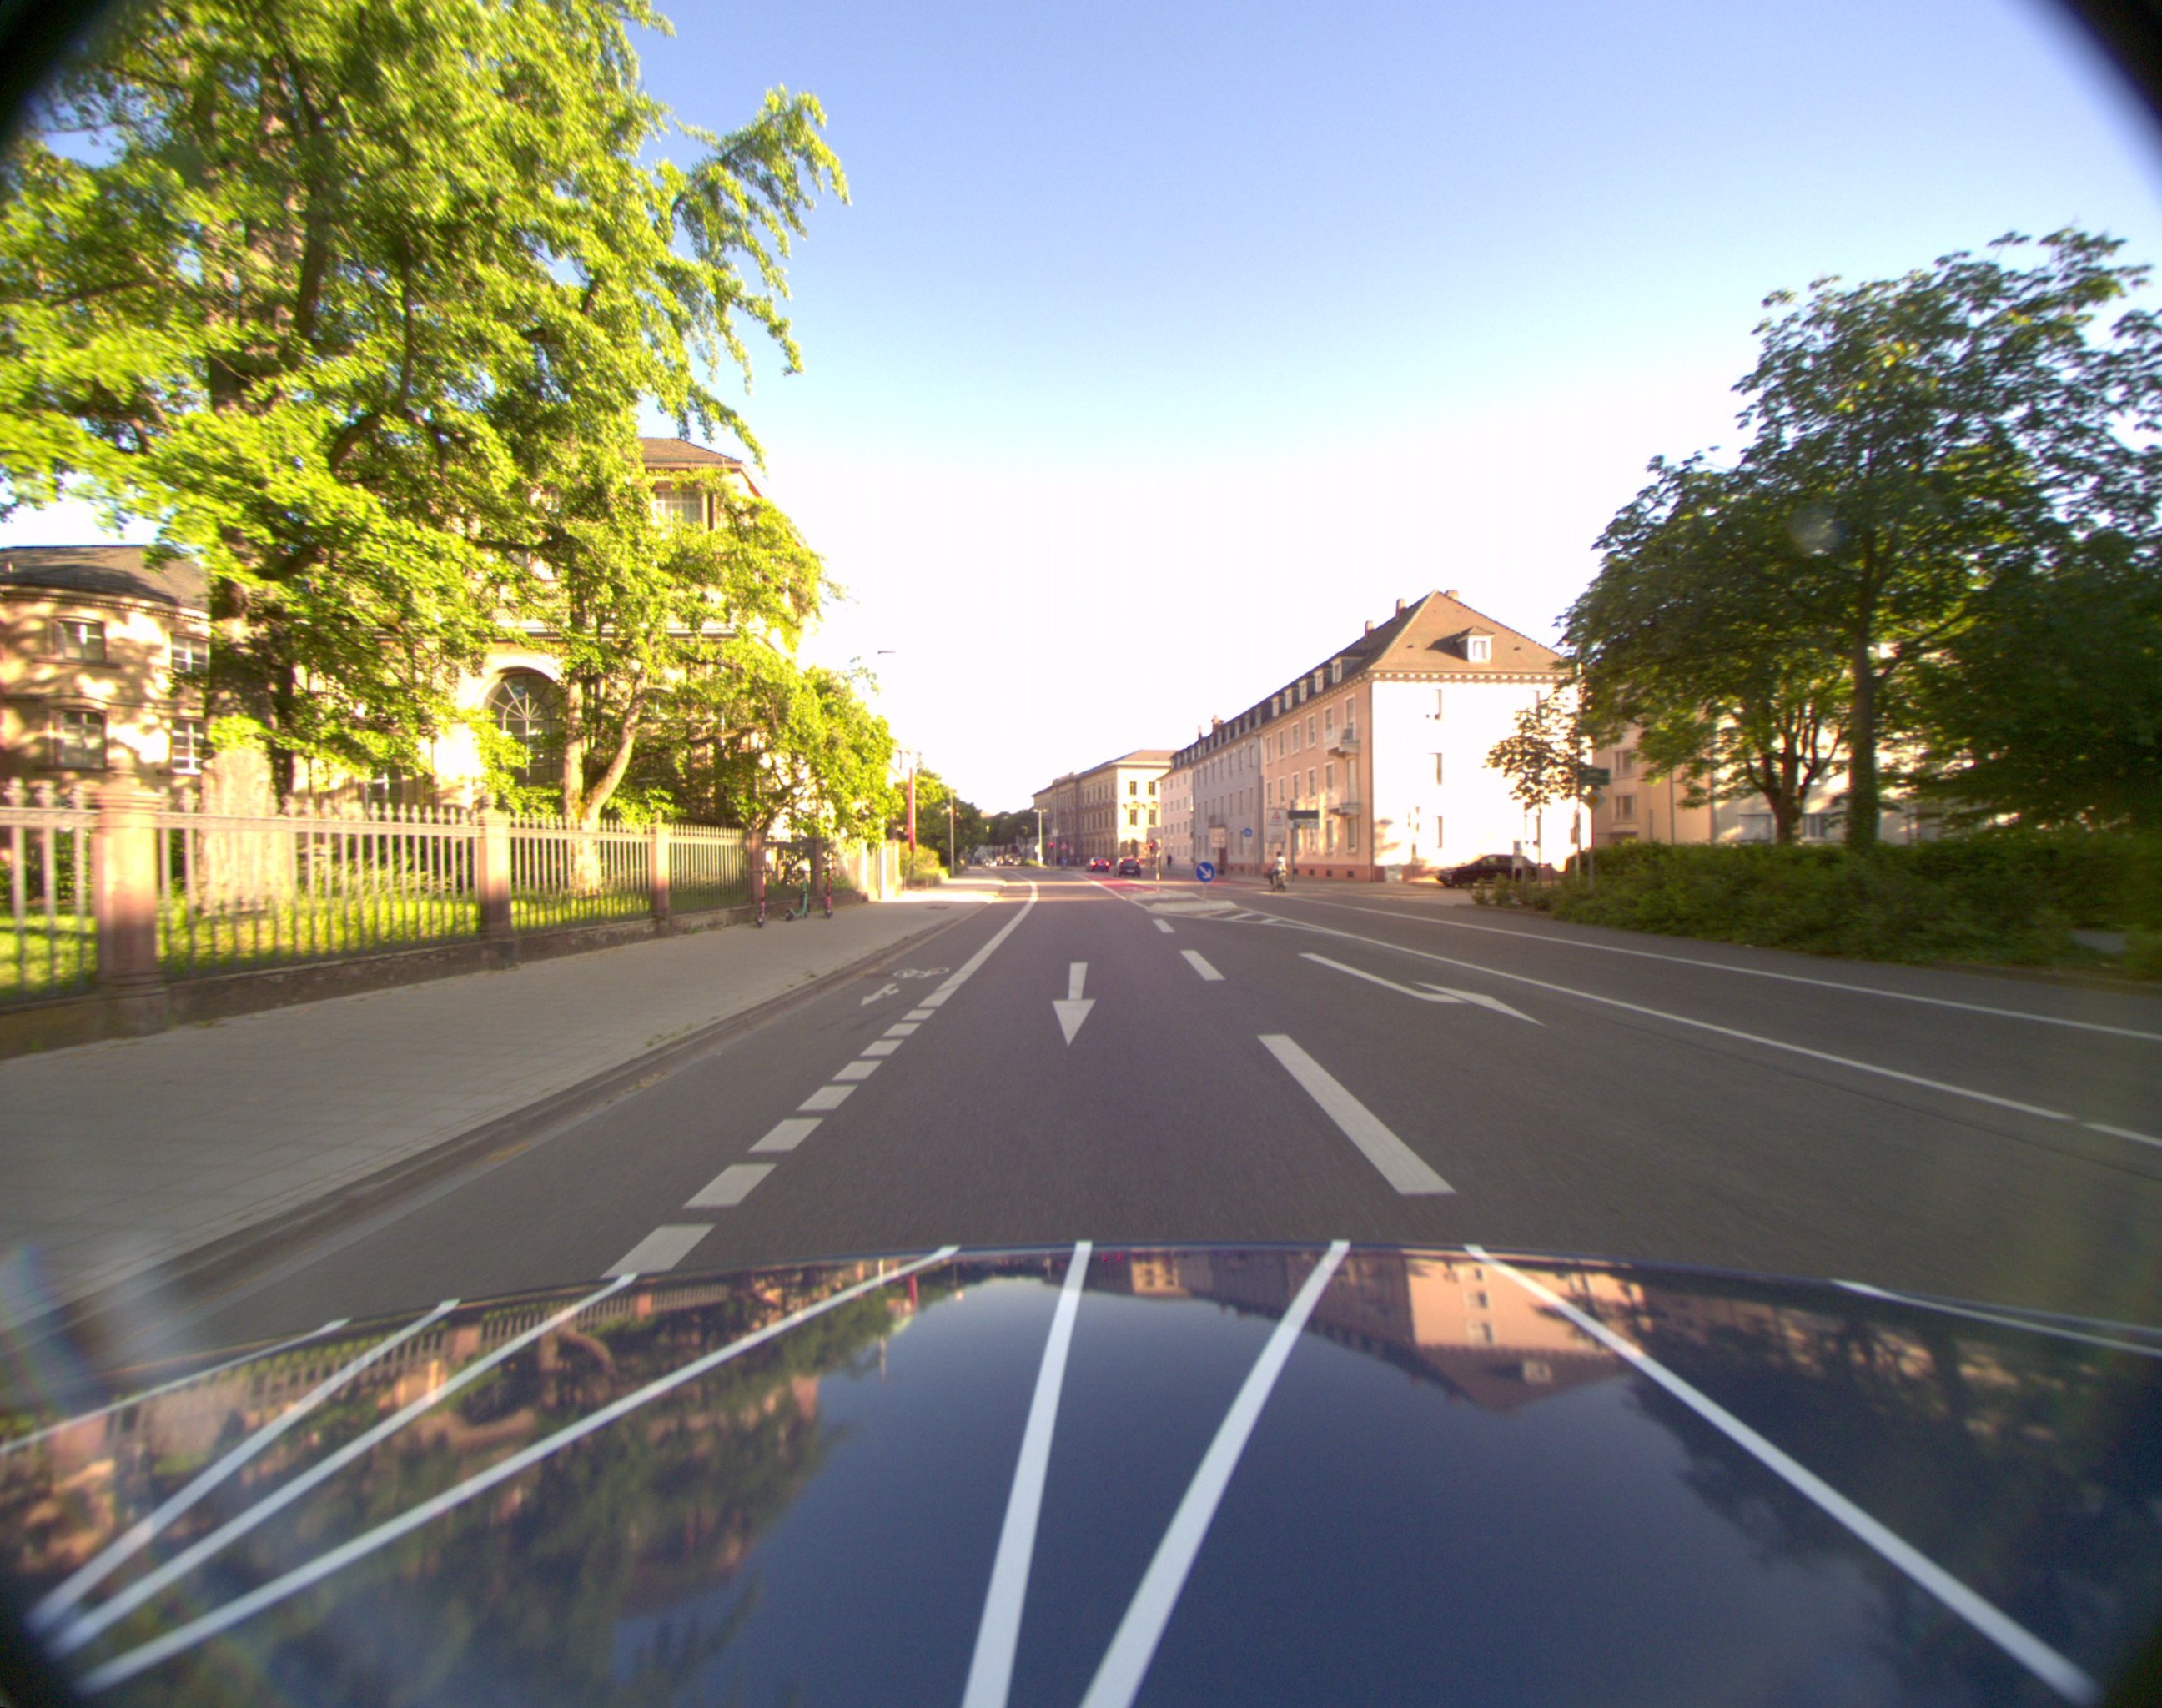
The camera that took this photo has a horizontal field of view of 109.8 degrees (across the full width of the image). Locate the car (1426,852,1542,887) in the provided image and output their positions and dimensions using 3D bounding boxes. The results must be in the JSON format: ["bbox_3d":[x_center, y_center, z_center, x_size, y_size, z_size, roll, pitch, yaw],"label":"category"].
[{"bbox_3d":[19.645,0.721,37.182,4.586,1.668,2.061,0,0,2],"label":"car"}]

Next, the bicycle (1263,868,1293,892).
[{"bbox_3d":[7.960,1.046,30.800,0.618,0.916,2.179,0,0,-1],"label":"bicycle"}]

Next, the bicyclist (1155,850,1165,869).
[{"bbox_3d":[6.436,0.426,61.642,0.658,1.476,0.665,2,0,-5],"label":"bicyclist"}]

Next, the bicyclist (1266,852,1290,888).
[{"bbox_3d":[7.975,0.651,30.729,0.647,1.410,0.970,2,0,-1],"label":"bicyclist"}]

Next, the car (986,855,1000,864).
[{"bbox_3d":[-13.807,0.877,118.894,1.555,1.288,3.633,2,0,-14],"label":"car"}]

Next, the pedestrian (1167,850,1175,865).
[{"bbox_3d":[10.721,0.408,90.257,0.633,1.836,1.012,-3,1,-7],"label":"pedestrian"}]

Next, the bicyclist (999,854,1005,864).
[{"bbox_3d":[-13.030,0.781,125.246,0.806,1.599,0.824,0,0,-12],"label":"bicyclist"}]

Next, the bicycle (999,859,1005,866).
[{"bbox_3d":[-12.990,1.326,125.106,0.831,1.136,1.967,-1,0,-12],"label":"bicycle"}]

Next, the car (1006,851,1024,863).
[{"bbox_3d":[-11.022,0.422,127.303,2.076,1.904,5.026,0,1,-16],"label":"car"}]

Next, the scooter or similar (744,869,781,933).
[{"bbox_3d":[-6.681,0.951,15.998,0.550,1.235,1.555,0,0,-16],"label":"scooter or similar"}]

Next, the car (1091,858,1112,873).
[{"bbox_3d":[2.016,1.094,75.686,1.816,1.411,4.554,0,0,-2],"label":"car"}]

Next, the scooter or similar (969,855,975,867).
[{"bbox_3d":[-12.209,0.799,85.095,0.557,1.301,1.831,0,0,-7],"label":"scooter or similar"}]

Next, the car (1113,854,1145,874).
[{"bbox_3d":[3.521,0.712,56.352,1.763,1.450,3.998,0,0,-5],"label":"car"}]

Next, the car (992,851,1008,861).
[{"bbox_3d":[-14.518,0.420,136.593,1.999,1.739,4.740,0,0,-17],"label":"car"}]

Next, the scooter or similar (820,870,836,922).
[{"bbox_3d":[-6.235,1.015,18.738,0.298,1.233,1.159,0,0,-15],"label":"scooter or similar"}]

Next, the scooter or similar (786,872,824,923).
[{"bbox_3d":[-6.489,0.997,17.904,0.482,1.116,1.336,0,1,-3],"label":"scooter or similar"}]

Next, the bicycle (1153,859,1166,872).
[{"bbox_3d":[6.399,0.925,61.717,0.653,0.990,2.108,1,0,-4],"label":"bicycle"}]
